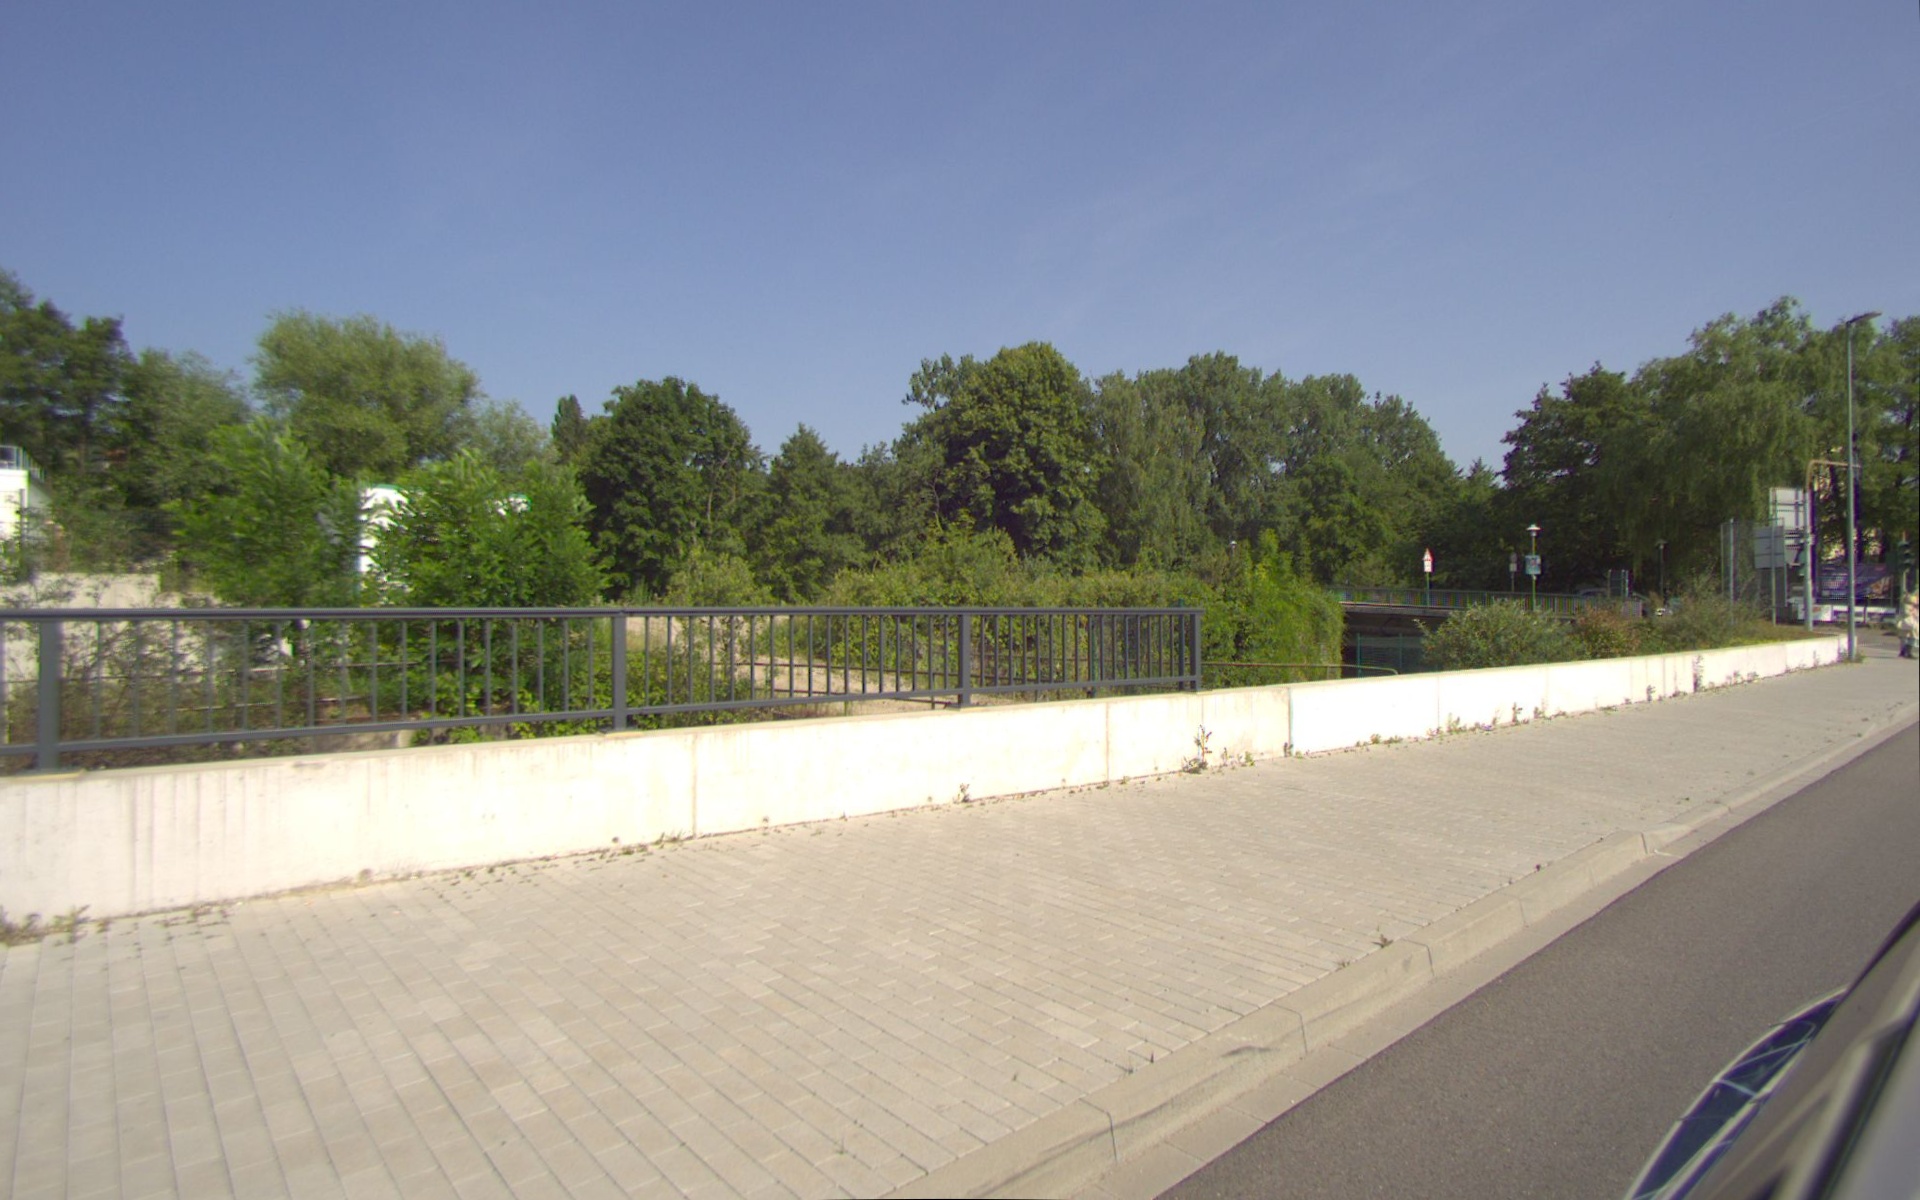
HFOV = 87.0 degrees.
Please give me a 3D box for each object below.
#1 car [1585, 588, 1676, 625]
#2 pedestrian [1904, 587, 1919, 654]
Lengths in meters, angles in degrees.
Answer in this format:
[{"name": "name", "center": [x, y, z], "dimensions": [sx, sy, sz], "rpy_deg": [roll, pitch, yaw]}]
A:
[{"name": "car", "center": [31.083, 0.247, 47.063], "dimensions": [1.637, 1.537, 4.083], "rpy_deg": [1, 2, 3]}, {"name": "pedestrian", "center": [24.565, 0.516, 25.777], "dimensions": [0.709, 1.692, 0.585], "rpy_deg": [0, 0, 39]}]
